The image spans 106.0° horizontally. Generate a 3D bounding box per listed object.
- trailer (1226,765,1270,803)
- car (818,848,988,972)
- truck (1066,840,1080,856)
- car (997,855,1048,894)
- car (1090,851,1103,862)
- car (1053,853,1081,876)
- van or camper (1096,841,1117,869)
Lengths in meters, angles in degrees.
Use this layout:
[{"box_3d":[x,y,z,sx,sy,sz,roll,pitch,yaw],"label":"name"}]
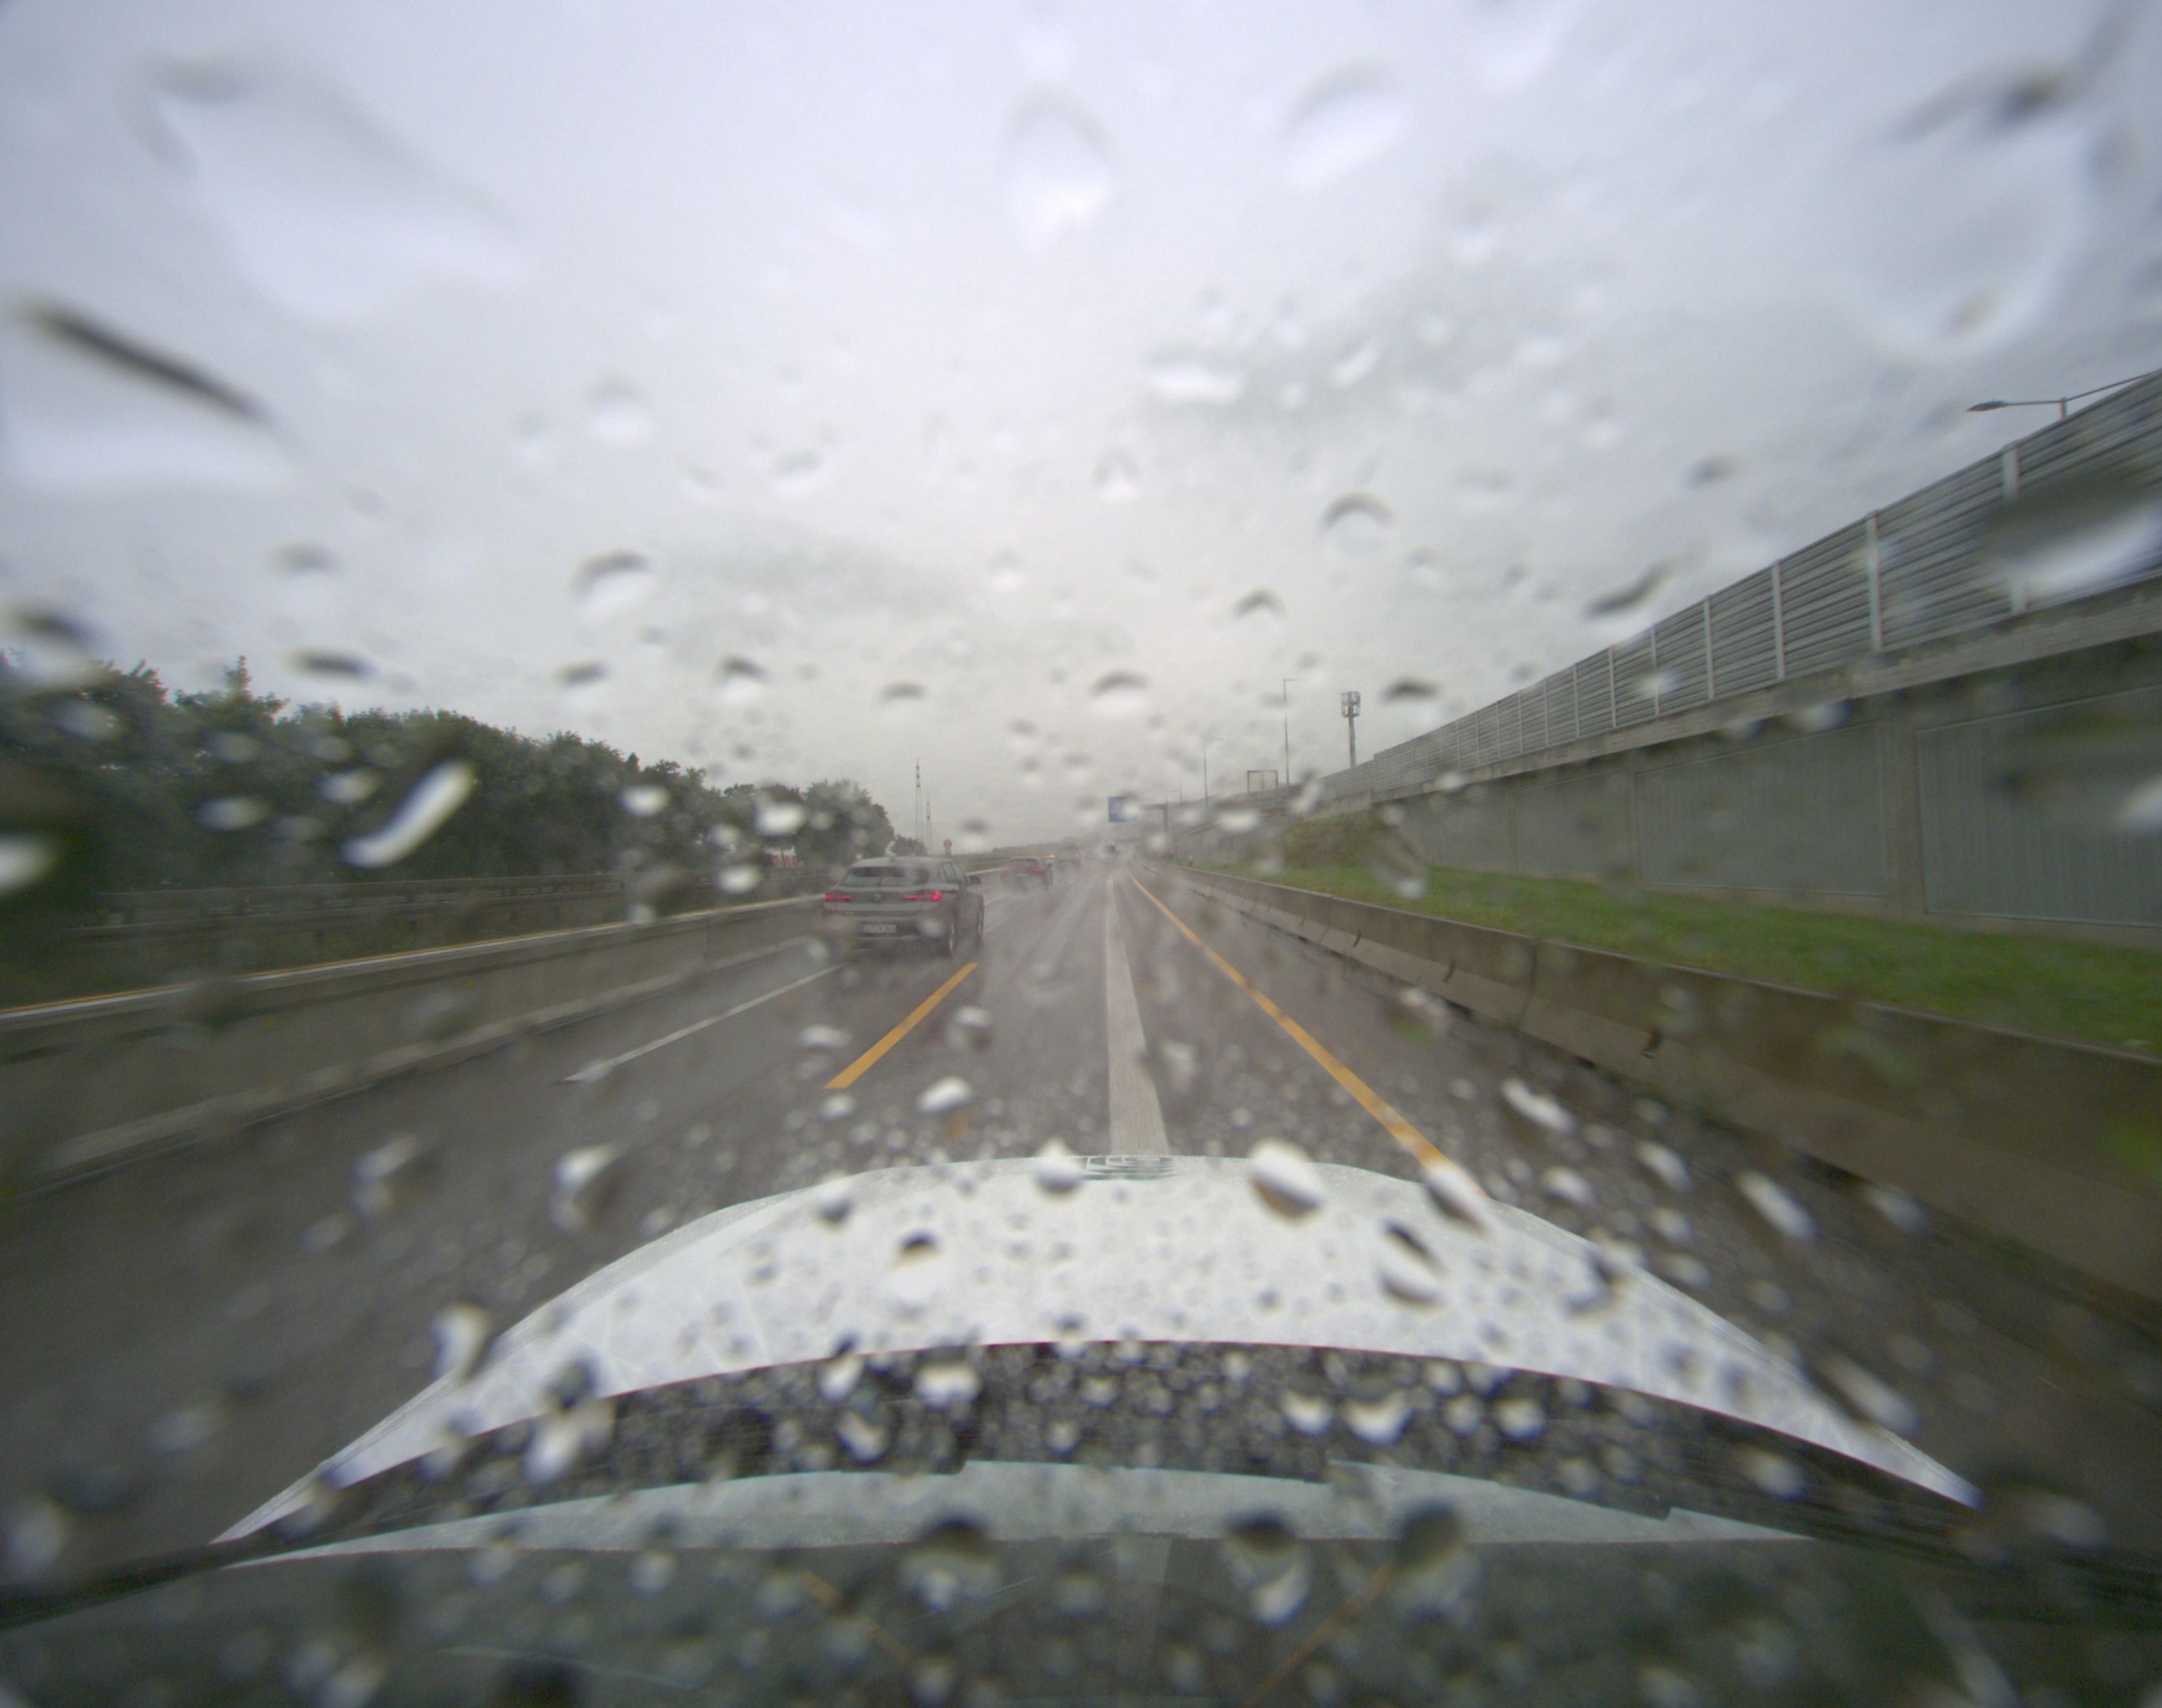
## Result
[{"box_3d":[15.449,-6.388,76.252,1.985,2.106,13.778,-1,-1,3],"label":"trailer"},{"box_3d":[-2.614,0.778,13.113,1.695,1.598,4.843,-1,-1,-1],"label":"car"},{"box_3d":[-1.764,-1.341,184.497,2.628,3.347,9.560,-1,0,3],"label":"truck"},{"box_3d":[-2.408,0.850,34.305,1.838,1.491,4.260,-1,-1,-1],"label":"car"},{"box_3d":[2.204,0.339,116.407,1.562,1.480,2.820,-4,-1,-2],"label":"car"},{"box_3d":[-1.010,0.748,59.781,1.839,1.491,4.260,-4,0,-1],"label":"car"},{"box_3d":[2.599,0.173,83.361,1.990,2.777,4.048,-1,-1,-1],"label":"van or camper"}]
